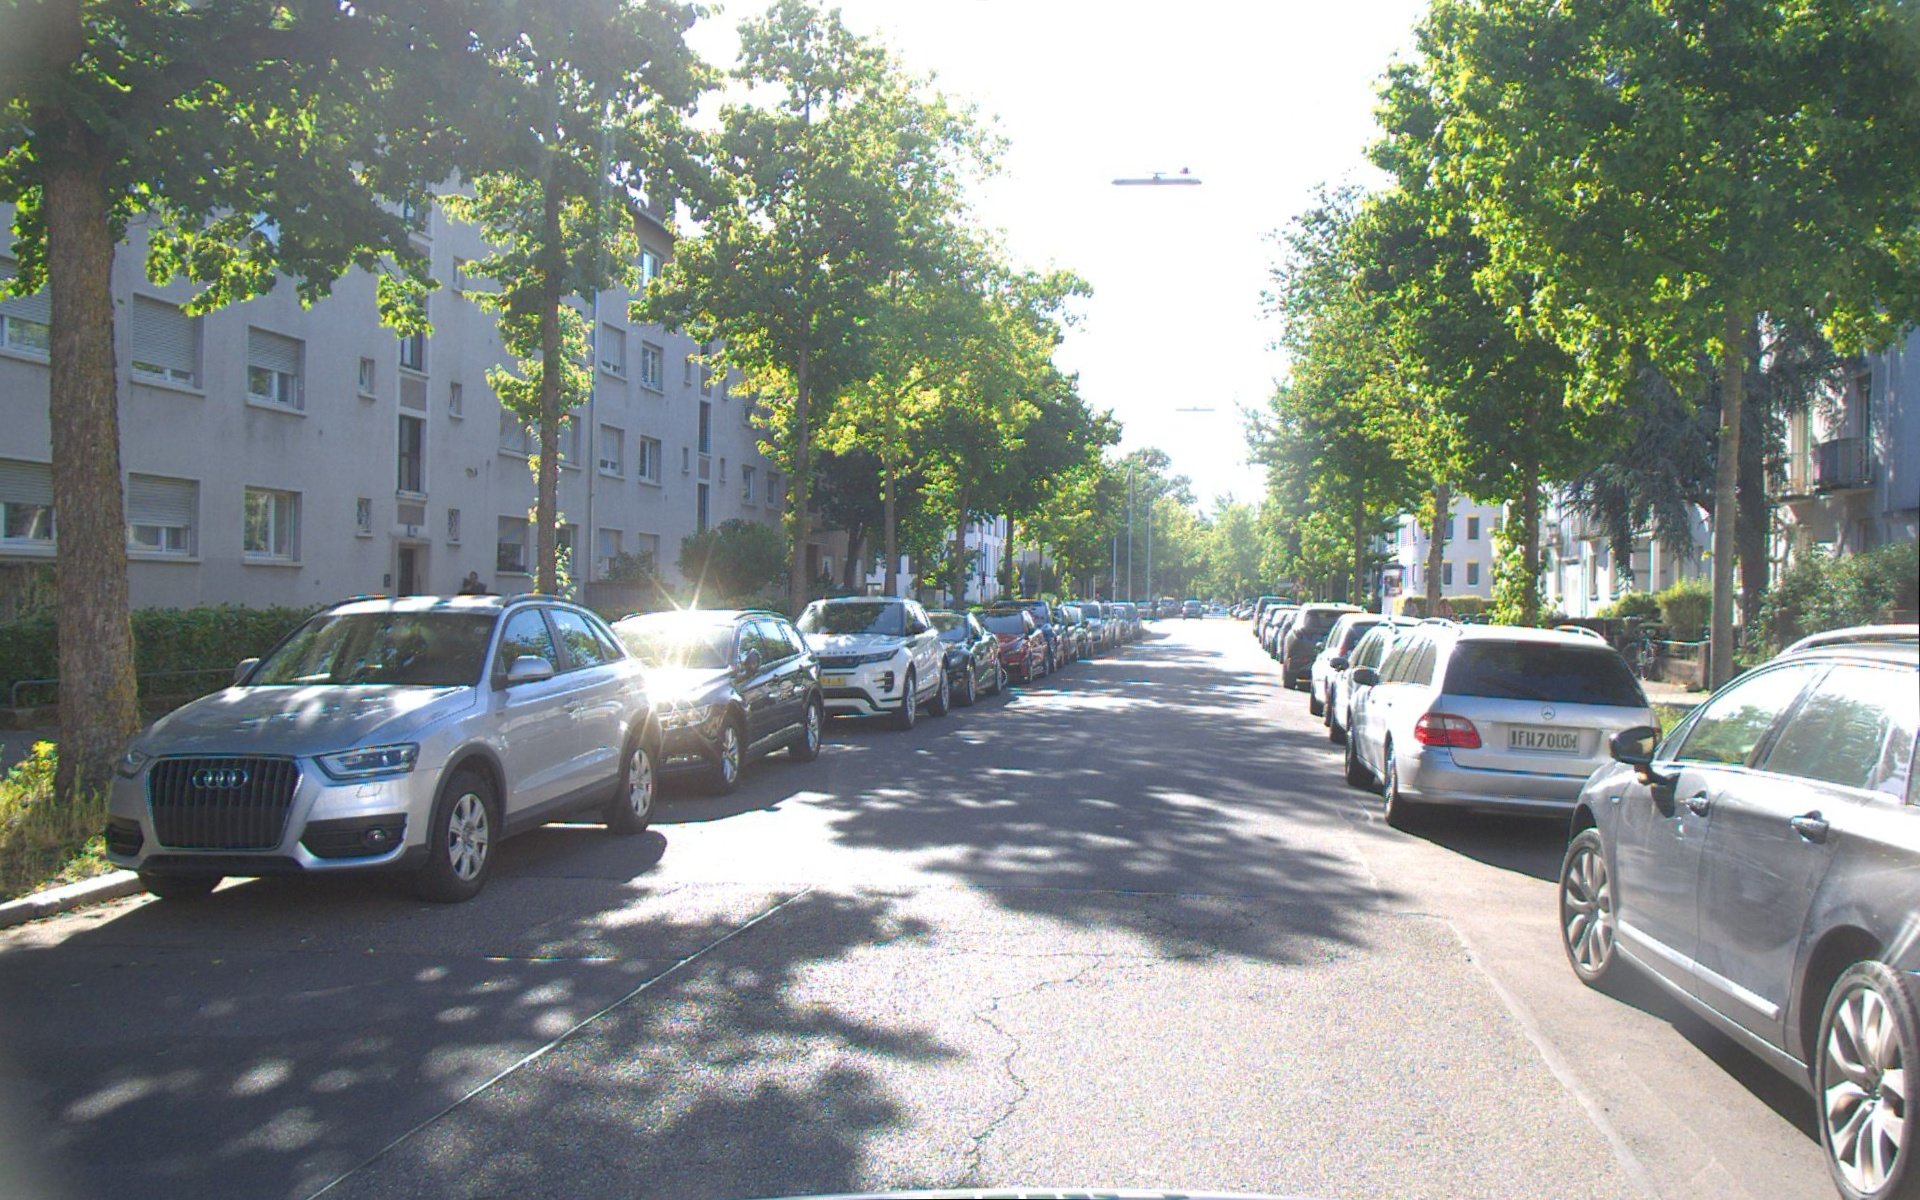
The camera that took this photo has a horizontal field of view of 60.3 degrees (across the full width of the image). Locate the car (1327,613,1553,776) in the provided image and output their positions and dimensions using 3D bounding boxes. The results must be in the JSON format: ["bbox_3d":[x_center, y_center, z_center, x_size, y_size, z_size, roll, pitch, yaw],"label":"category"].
[{"bbox_3d":[5.125,0.919,18.265,1.674,1.435,4.865,2,0,8],"label":"car"}]

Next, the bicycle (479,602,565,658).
[{"bbox_3d":[-9.465,0.650,35.807,0.503,1.173,1.949,1,0,32],"label":"bicycle"}]

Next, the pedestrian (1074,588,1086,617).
[{"bbox_3d":[8.665,0.200,119.309,0.841,2.049,0.982,1,0,7],"label":"pedestrian"}]

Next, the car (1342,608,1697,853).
[{"bbox_3d":[4.242,0.864,13.350,1.783,1.495,4.913,2,0,8],"label":"car"}]

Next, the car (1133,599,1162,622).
[{"bbox_3d":[14.490,0.772,127.726,1.951,1.700,4.003,1,0,9],"label":"car"}]

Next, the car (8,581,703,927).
[{"bbox_3d":[-3.174,0.691,9.976,2.020,1.551,4.725,1,0,6],"label":"car"}]

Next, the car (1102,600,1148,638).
[{"bbox_3d":[7.393,0.816,73.981,1.800,1.623,4.266,-1,0,9],"label":"car"}]

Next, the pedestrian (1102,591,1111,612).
[{"bbox_3d":[13.599,0.164,153.722,0.746,1.934,0.819,1,0,3],"label":"pedestrian"}]

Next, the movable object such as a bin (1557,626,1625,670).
[{"bbox_3d":[14.197,1.062,37.181,1.198,0.920,1.661,1,0,30],"label":"movable object such as a bin"}]

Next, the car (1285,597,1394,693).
[{"bbox_3d":[7.577,0.835,33.390,1.885,1.680,5.099,3,1,11],"label":"car"}]

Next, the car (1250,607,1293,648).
[{"bbox_3d":[15.604,1.354,82.912,1.929,1.983,4.989,1,0,9],"label":"car"}]

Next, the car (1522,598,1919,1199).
[{"bbox_3d":[3.363,0.821,5.577,1.855,1.551,4.971,2,-1,8],"label":"car"}]

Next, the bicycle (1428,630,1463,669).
[{"bbox_3d":[15.599,1.579,53.173,0.669,1.173,2.405,0,0,6],"label":"bicycle"}]

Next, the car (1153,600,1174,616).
[{"bbox_3d":[20.244,0.773,164.388,1.951,1.613,4.003,1,0,9],"label":"car"}]

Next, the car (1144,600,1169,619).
[{"bbox_3d":[16.981,0.810,142.823,1.951,1.613,4.003,1,0,9],"label":"car"}]

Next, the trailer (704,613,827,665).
[{"bbox_3d":[-4.259,0.842,36.689,1.750,1.052,3.284,1,0,11],"label":"trailer"}]

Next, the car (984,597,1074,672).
[{"bbox_3d":[1.667,0.763,38.796,1.751,1.594,4.468,-2,0,6],"label":"car"}]

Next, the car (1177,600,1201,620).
[{"bbox_3d":[19.428,0.825,140.423,1.745,1.637,4.002,0,0,5],"label":"car"}]

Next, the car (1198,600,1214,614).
[{"bbox_3d":[29.509,0.819,198.477,1.854,1.588,4.003,0,0,9],"label":"car"}]

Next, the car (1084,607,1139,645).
[{"bbox_3d":[6.275,1.045,68.006,1.951,1.478,4.266,-2,0,9],"label":"car"}]

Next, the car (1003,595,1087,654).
[{"bbox_3d":[2.298,0.630,43.715,1.790,1.478,4.126,0,0,9],"label":"car"}]

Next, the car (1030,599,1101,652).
[{"bbox_3d":[3.121,0.730,48.393,1.724,1.469,3.912,-1,0,9],"label":"car"}]

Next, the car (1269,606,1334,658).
[{"bbox_3d":[10.502,0.954,51.015,1.750,1.478,3.785,2,0,9],"label":"car"}]

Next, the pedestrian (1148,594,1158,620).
[{"bbox_3d":[14.568,0.523,124.838,0.700,1.933,0.837,1,0,0],"label":"pedestrian"}]

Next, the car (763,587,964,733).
[{"bbox_3d":[-1.133,0.711,21.558,1.691,1.646,4.370,-3,-1,8],"label":"car"}]

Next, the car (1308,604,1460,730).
[{"bbox_3d":[6.041,0.887,23.923,1.619,1.559,3.972,3,0,8],"label":"car"}]

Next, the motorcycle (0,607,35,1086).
[{"bbox_3d":[-3.967,0.795,6.073,0.976,1.530,2.211,0,0,-30],"label":"motorcycle"}]

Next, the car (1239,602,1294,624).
[{"bbox_3d":[22.914,0.949,123.793,3.902,1.615,1.728,1,0,6],"label":"car"}]

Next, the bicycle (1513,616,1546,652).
[{"bbox_3d":[16.167,0.957,46.968,0.583,0.974,1.905,0,0,9],"label":"bicycle"}]

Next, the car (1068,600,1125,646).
[{"bbox_3d":[4.942,0.814,59.390,1.673,1.571,3.933,-1,0,10],"label":"car"}]

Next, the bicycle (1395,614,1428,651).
[{"bbox_3d":[14.656,1.043,53.693,0.669,1.173,2.405,0,0,6],"label":"bicycle"}]

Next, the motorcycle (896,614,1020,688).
[{"bbox_3d":[-0.035,0.930,30.475,2.239,1.293,0.808,-1,0,-1],"label":"motorcycle"}]

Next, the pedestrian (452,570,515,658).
[{"bbox_3d":[-10.533,0.304,36.587,0.914,1.921,1.026,0,0,20],"label":"pedestrian"}]

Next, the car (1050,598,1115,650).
[{"bbox_3d":[4.030,0.755,53.964,1.772,1.624,4.236,0,0,9],"label":"car"}]

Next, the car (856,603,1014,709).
[{"bbox_3d":[-0.300,0.837,26.839,1.691,1.503,4.623,-3,-1,10],"label":"car"}]

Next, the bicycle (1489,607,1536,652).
[{"bbox_3d":[16.472,0.859,49.353,0.820,1.279,2.233,1,0,6],"label":"bicycle"}]

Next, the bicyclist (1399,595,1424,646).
[{"bbox_3d":[14.669,0.673,53.740,0.662,1.638,0.922,0,0,6],"label":"bicyclist"}]

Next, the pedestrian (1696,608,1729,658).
[{"bbox_3d":[17.723,0.776,38.960,0.498,1.162,0.756,1,0,8],"label":"pedestrian"}]

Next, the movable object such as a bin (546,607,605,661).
[{"bbox_3d":[-7.654,0.661,32.951,0.864,1.052,0.844,0,0,11],"label":"movable object such as a bin"}]

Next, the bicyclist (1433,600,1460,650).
[{"bbox_3d":[15.588,0.809,53.032,0.662,1.580,1.022,0,0,6],"label":"bicyclist"}]

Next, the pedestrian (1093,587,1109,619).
[{"bbox_3d":[9.044,0.192,106.005,0.841,2.049,0.981,0,0,18],"label":"pedestrian"}]

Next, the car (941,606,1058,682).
[{"bbox_3d":[0.876,0.849,33.561,1.741,1.403,4.266,-1,0,10],"label":"car"}]

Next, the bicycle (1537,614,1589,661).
[{"bbox_3d":[15.470,0.949,42.469,0.786,1.135,2.001,1,0,7],"label":"bicycle"}]

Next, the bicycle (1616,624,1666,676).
[{"bbox_3d":[13.850,1.001,33.680,0.569,0.992,1.905,0,0,11],"label":"bicycle"}]

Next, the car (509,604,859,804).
[{"bbox_3d":[-2.280,0.812,15.088,1.691,1.472,4.825,-2,0,9],"label":"car"}]

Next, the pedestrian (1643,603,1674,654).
[{"bbox_3d":[16.396,0.670,38.837,0.498,1.162,0.756,1,0,11],"label":"pedestrian"}]
